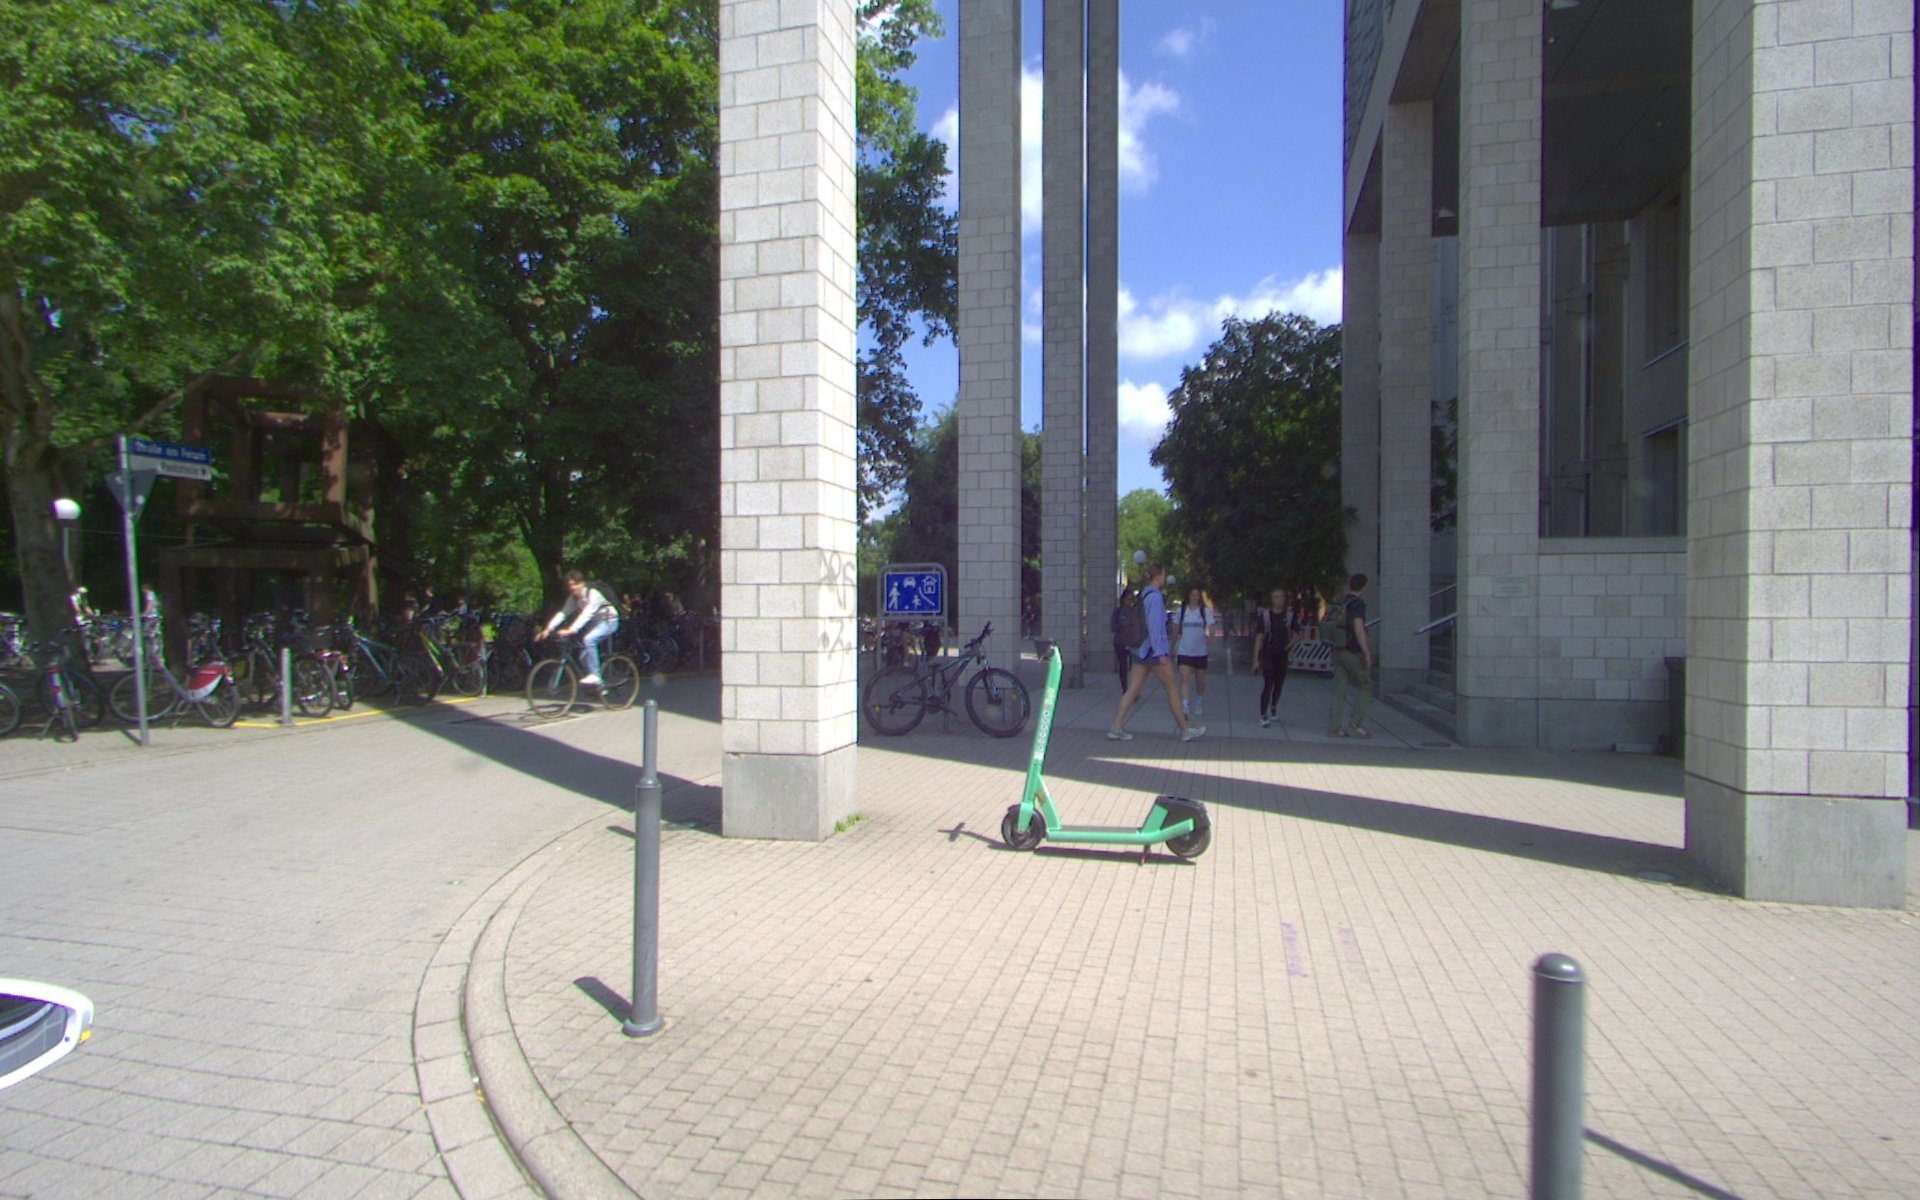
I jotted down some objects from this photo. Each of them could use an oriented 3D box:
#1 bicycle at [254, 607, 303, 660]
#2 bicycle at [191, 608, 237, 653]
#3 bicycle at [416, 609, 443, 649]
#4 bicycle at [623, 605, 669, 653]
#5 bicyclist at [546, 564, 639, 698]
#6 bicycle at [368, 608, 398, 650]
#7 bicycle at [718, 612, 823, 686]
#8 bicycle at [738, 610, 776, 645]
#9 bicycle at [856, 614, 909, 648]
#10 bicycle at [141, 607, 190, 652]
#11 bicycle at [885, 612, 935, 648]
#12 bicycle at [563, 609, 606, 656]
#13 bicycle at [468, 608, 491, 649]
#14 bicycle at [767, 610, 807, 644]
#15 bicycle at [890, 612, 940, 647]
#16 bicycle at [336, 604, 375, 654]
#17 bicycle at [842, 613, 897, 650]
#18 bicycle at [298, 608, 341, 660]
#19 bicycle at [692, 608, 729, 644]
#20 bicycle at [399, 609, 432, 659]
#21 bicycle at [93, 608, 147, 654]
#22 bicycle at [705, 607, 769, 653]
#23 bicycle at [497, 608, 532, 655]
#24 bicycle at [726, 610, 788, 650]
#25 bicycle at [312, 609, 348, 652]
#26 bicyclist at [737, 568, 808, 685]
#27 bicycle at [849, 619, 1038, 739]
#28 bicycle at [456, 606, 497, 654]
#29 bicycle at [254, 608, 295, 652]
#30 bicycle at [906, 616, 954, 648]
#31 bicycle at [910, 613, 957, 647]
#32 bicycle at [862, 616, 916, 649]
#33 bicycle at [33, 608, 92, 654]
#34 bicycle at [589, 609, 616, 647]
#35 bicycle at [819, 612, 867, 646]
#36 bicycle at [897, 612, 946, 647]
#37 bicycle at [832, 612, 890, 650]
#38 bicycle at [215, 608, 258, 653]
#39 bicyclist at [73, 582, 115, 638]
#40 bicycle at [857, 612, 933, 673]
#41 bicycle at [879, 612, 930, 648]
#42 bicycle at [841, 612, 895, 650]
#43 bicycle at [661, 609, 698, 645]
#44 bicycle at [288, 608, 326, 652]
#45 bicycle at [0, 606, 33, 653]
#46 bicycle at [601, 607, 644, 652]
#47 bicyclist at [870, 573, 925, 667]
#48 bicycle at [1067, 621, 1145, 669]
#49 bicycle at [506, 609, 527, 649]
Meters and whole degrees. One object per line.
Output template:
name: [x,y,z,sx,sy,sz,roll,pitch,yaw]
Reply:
bicycle: [-15.200,0.723,22.370,0.494,1.122,1.901,1,-1,-22]
bicycle: [-19.187,0.763,25.776,0.466,1.098,1.853,1,-1,-22]
bicycle: [-14.916,0.803,28.182,0.466,1.098,1.694,1,0,-22]
bicycle: [-8.262,0.751,26.306,0.569,1.215,1.686,1,0,-38]
bicyclist: [-4.583,0.368,12.503,0.632,1.595,0.869,2,2,38]
bicycle: [-15.751,0.787,27.353,0.466,1.098,1.694,1,0,-22]
bicycle: [-3.181,0.808,16.988,0.664,1.155,1.878,2,0,30]
bicycle: [-6.718,0.892,33.085,0.469,1.098,1.685,1,0,-39]
bicycle: [-2.560,1.036,33.054,1.671,1.075,0.473,2,0,-20]
bicycle: [-20.232,0.740,25.524,0.466,1.098,1.853,1,-1,-22]
bicycle: [-1.712,1.023,34.307,1.666,1.184,0.474,1,0,3]
bicycle: [-9.557,0.809,25.451,0.497,1.122,1.686,1,0,-38]
bicycle: [-13.538,0.785,28.240,0.466,1.098,1.694,1,0,-22]
bicycle: [-5.821,0.910,33.608,0.469,1.098,1.683,1,0,-43]
bicycle: [-1.585,1.030,35.009,1.753,1.183,0.472,1,0,29]
bicycle: [-13.989,0.658,23.198,0.494,1.122,1.774,1,0,-22]
bicycle: [-2.838,0.978,31.455,1.668,1.122,0.473,1,0,-12]
bicycle: [-14.657,0.760,22.945,0.494,1.122,1.774,1,0,-22]
bicycle: [-8.020,0.819,32.109,0.469,1.098,1.685,1,0,-39]
bicycle: [-12.879,0.781,23.676,0.496,1.122,1.688,1,0,-34]
bicycle: [-21.181,0.769,25.280,0.466,1.098,1.853,1,-1,-22]
bicycle: [-6.291,0.837,28.269,1.666,1.236,0.503,1,0,4]
bicycle: [-11.080,0.768,24.879,0.496,1.122,1.688,1,0,-34]
bicycle: [-5.926,0.869,29.231,1.666,1.122,0.503,1,0,4]
bicycle: [-16.743,0.789,26.649,0.466,1.098,1.853,1,-1,-22]
bicyclist: [-3.166,0.437,16.992,0.664,1.912,0.965,2,0,30]
bicycle: [-0.160,0.814,10.395,1.851,1.179,0.604,-1,1,11]
bicycle: [-11.764,0.715,24.335,0.623,1.122,1.688,1,0,-34]
bicycle: [-17.897,0.765,26.175,0.466,1.098,1.853,1,-1,-22]
bicycle: [-1.110,1.158,36.549,1.667,1.105,0.474,1,0,10]
bicycle: [-0.966,1.104,36.995,1.667,1.174,0.474,1,0,7]
bicycle: [-2.296,1.054,32.615,1.671,1.032,0.473,2,0,-20]
bicycle: [-22.148,0.752,24.733,0.466,1.098,1.853,1,-1,-22]
bicycle: [-10.892,0.837,30.447,0.467,1.098,1.690,1,0,-30]
bicycle: [-4.032,0.989,34.392,1.673,1.098,0.472,1,0,29]
bicycle: [-1.390,1.050,35.838,1.667,1.184,0.474,1,0,10]
bicycle: [-3.025,0.956,30.749,1.666,1.122,0.582,1,0,4]
bicycle: [-18.715,0.771,25.925,0.466,1.098,1.853,1,-1,-22]
bicyclist: [-25.191,0.303,29.136,0.709,1.589,0.594,1,0,-17]
bicycle: [-1.341,0.871,21.045,0.792,1.187,1.881,2,0,24]
bicycle: [-1.877,1.009,33.791,1.666,1.184,0.474,1,0,-2]
bicycle: [-2.936,0.974,31.910,1.668,1.172,0.473,1,0,-12]
bicycle: [-8.773,0.829,31.301,0.469,1.098,1.685,1,0,-39]
bicycle: [-17.300,0.782,26.563,0.466,1.098,1.853,1,-1,-22]
bicycle: [-23.269,0.708,24.329,0.466,1.098,1.853,1,-1,-22]
bicycle: [-8.759,0.759,25.947,0.497,1.122,1.686,1,0,-38]
bicyclist: [-1.314,0.409,21.049,0.792,1.916,0.865,2,0,24]
bicycle: [3.287,0.999,22.458,1.711,1.053,0.449,0,1,11]
bicycle: [-12.786,0.827,28.890,0.466,1.098,1.694,1,0,-22]
